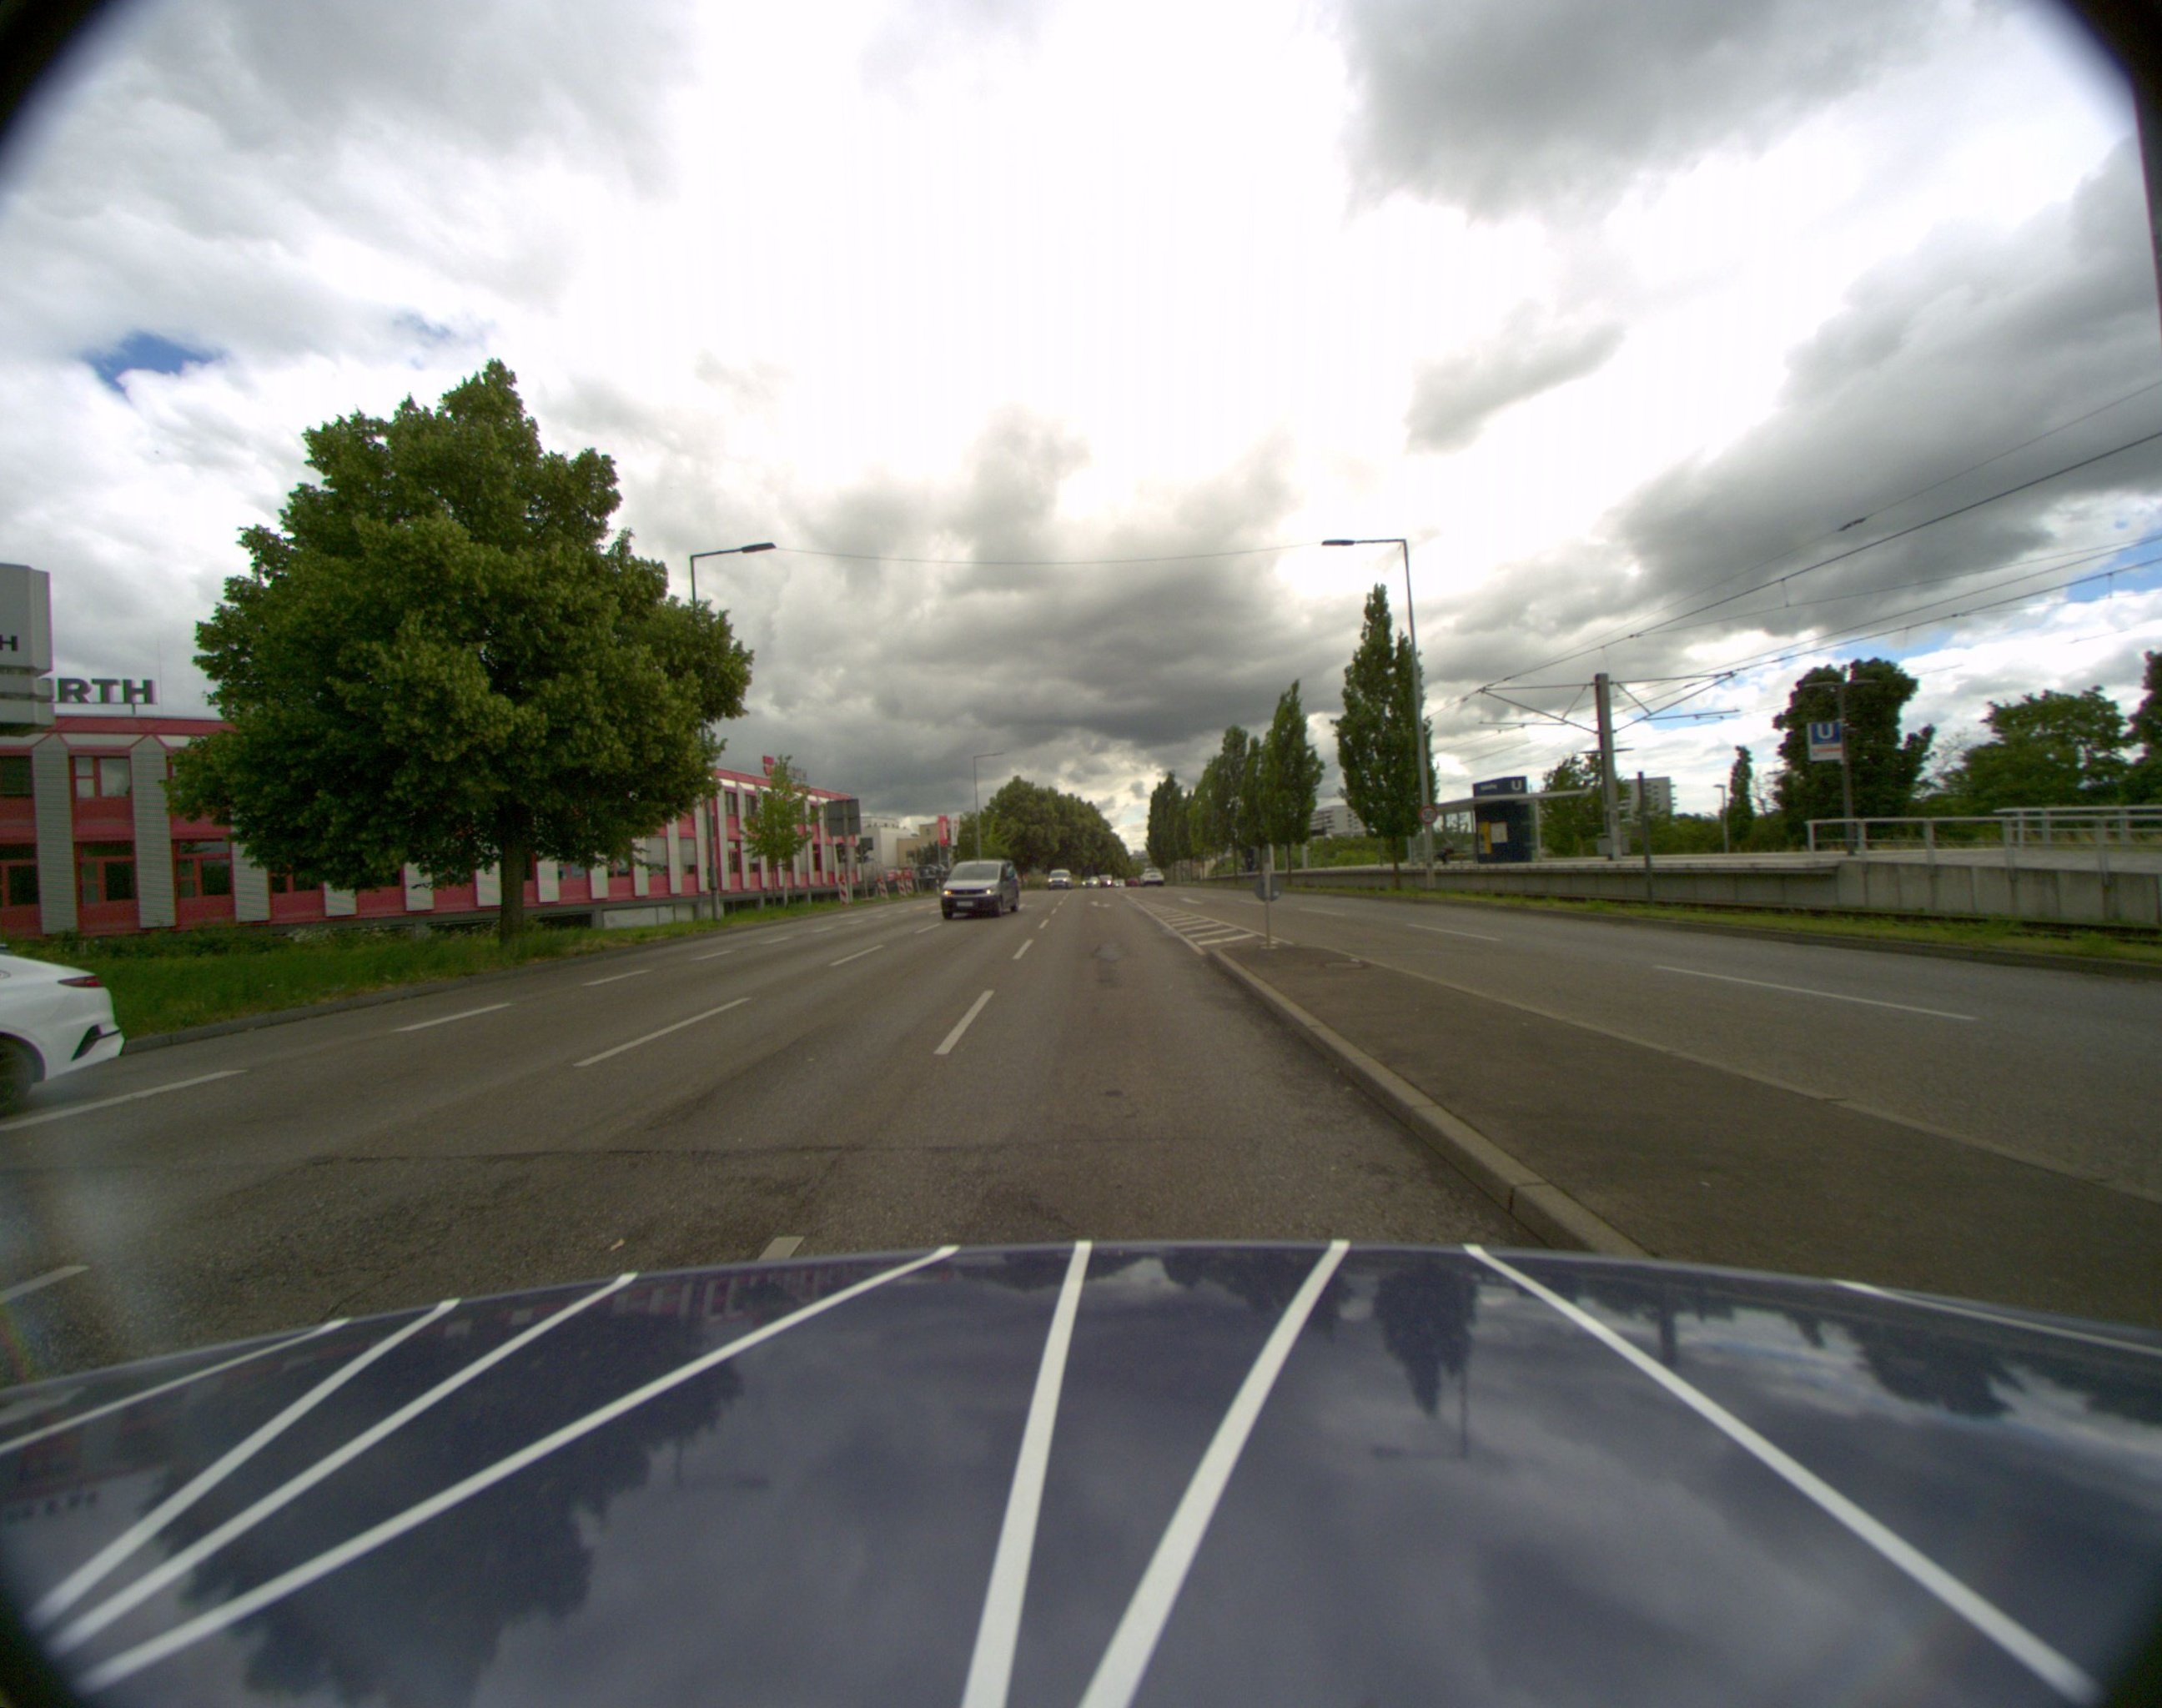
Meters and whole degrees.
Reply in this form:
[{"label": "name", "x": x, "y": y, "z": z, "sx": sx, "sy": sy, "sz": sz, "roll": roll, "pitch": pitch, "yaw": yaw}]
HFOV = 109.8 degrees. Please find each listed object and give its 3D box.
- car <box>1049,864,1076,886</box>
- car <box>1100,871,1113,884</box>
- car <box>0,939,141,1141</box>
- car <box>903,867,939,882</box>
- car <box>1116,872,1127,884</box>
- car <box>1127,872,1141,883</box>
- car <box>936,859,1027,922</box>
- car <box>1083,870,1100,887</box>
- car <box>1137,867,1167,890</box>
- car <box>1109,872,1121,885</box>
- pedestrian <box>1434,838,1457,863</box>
[{"label": "car", "x": -1.615, "y": 1.846, "z": 67.408, "sx": 1.984, "sy": 1.744, "sz": 4.253, "roll": -2, "pitch": 0, "yaw": 3}, {"label": "car", "x": 3.631, "y": 3.307, "z": 107.378, "sx": 1.782, "sy": 1.744, "sz": 4.253, "roll": -2, "pitch": 0, "yaw": 3}, {"label": "car", "x": -8.772, "y": 1.406, "z": 4.002, "sx": 1.784, "sy": 1.354, "sz": 4.482, "roll": -3, "pitch": 0, "yaw": 7}, {"label": "car", "x": -21.223, "y": 2.689, "z": 101.006, "sx": 4.248, "sy": 1.744, "sz": 1.784, "roll": -2, "pitch": 0, "yaw": 2}, {"label": "car", "x": 6.802, "y": 4.058, "z": 128.592, "sx": 1.782, "sy": 1.744, "sz": 4.253, "roll": -2, "pitch": 0, "yaw": 3}, {"label": "car", "x": 7.532, "y": 3.296, "z": 107.820, "sx": 1.785, "sy": 1.434, "sz": 4.427, "roll": -3, "pitch": -1, "yaw": 3}, {"label": "car", "x": -3.103, "y": 1.102, "z": 24.618, "sx": 1.781, "sy": 1.744, "sz": 4.254, "roll": -2, "pitch": 0, "yaw": 8}, {"label": "car", "x": 1.293, "y": 2.902, "z": 90.694, "sx": 1.782, "sy": 1.744, "sz": 4.253, "roll": -2, "pitch": 0, "yaw": 3}, {"label": "car", "x": 6.037, "y": 2.121, "z": 64.996, "sx": 1.834, "sy": 1.617, "sz": 4.429, "roll": -2, "pitch": -6, "yaw": -3}, {"label": "car", "x": 5.291, "y": 3.761, "z": 117.913, "sx": 1.782, "sy": 1.744, "sz": 4.253, "roll": -2, "pitch": 0, "yaw": 3}, {"label": "pedestrian", "x": 17.616, "y": -0.172, "z": 36.735, "sx": 0.663, "sy": 1.195, "sz": 0.782, "roll": -2, "pitch": 0, "yaw": -7}]
